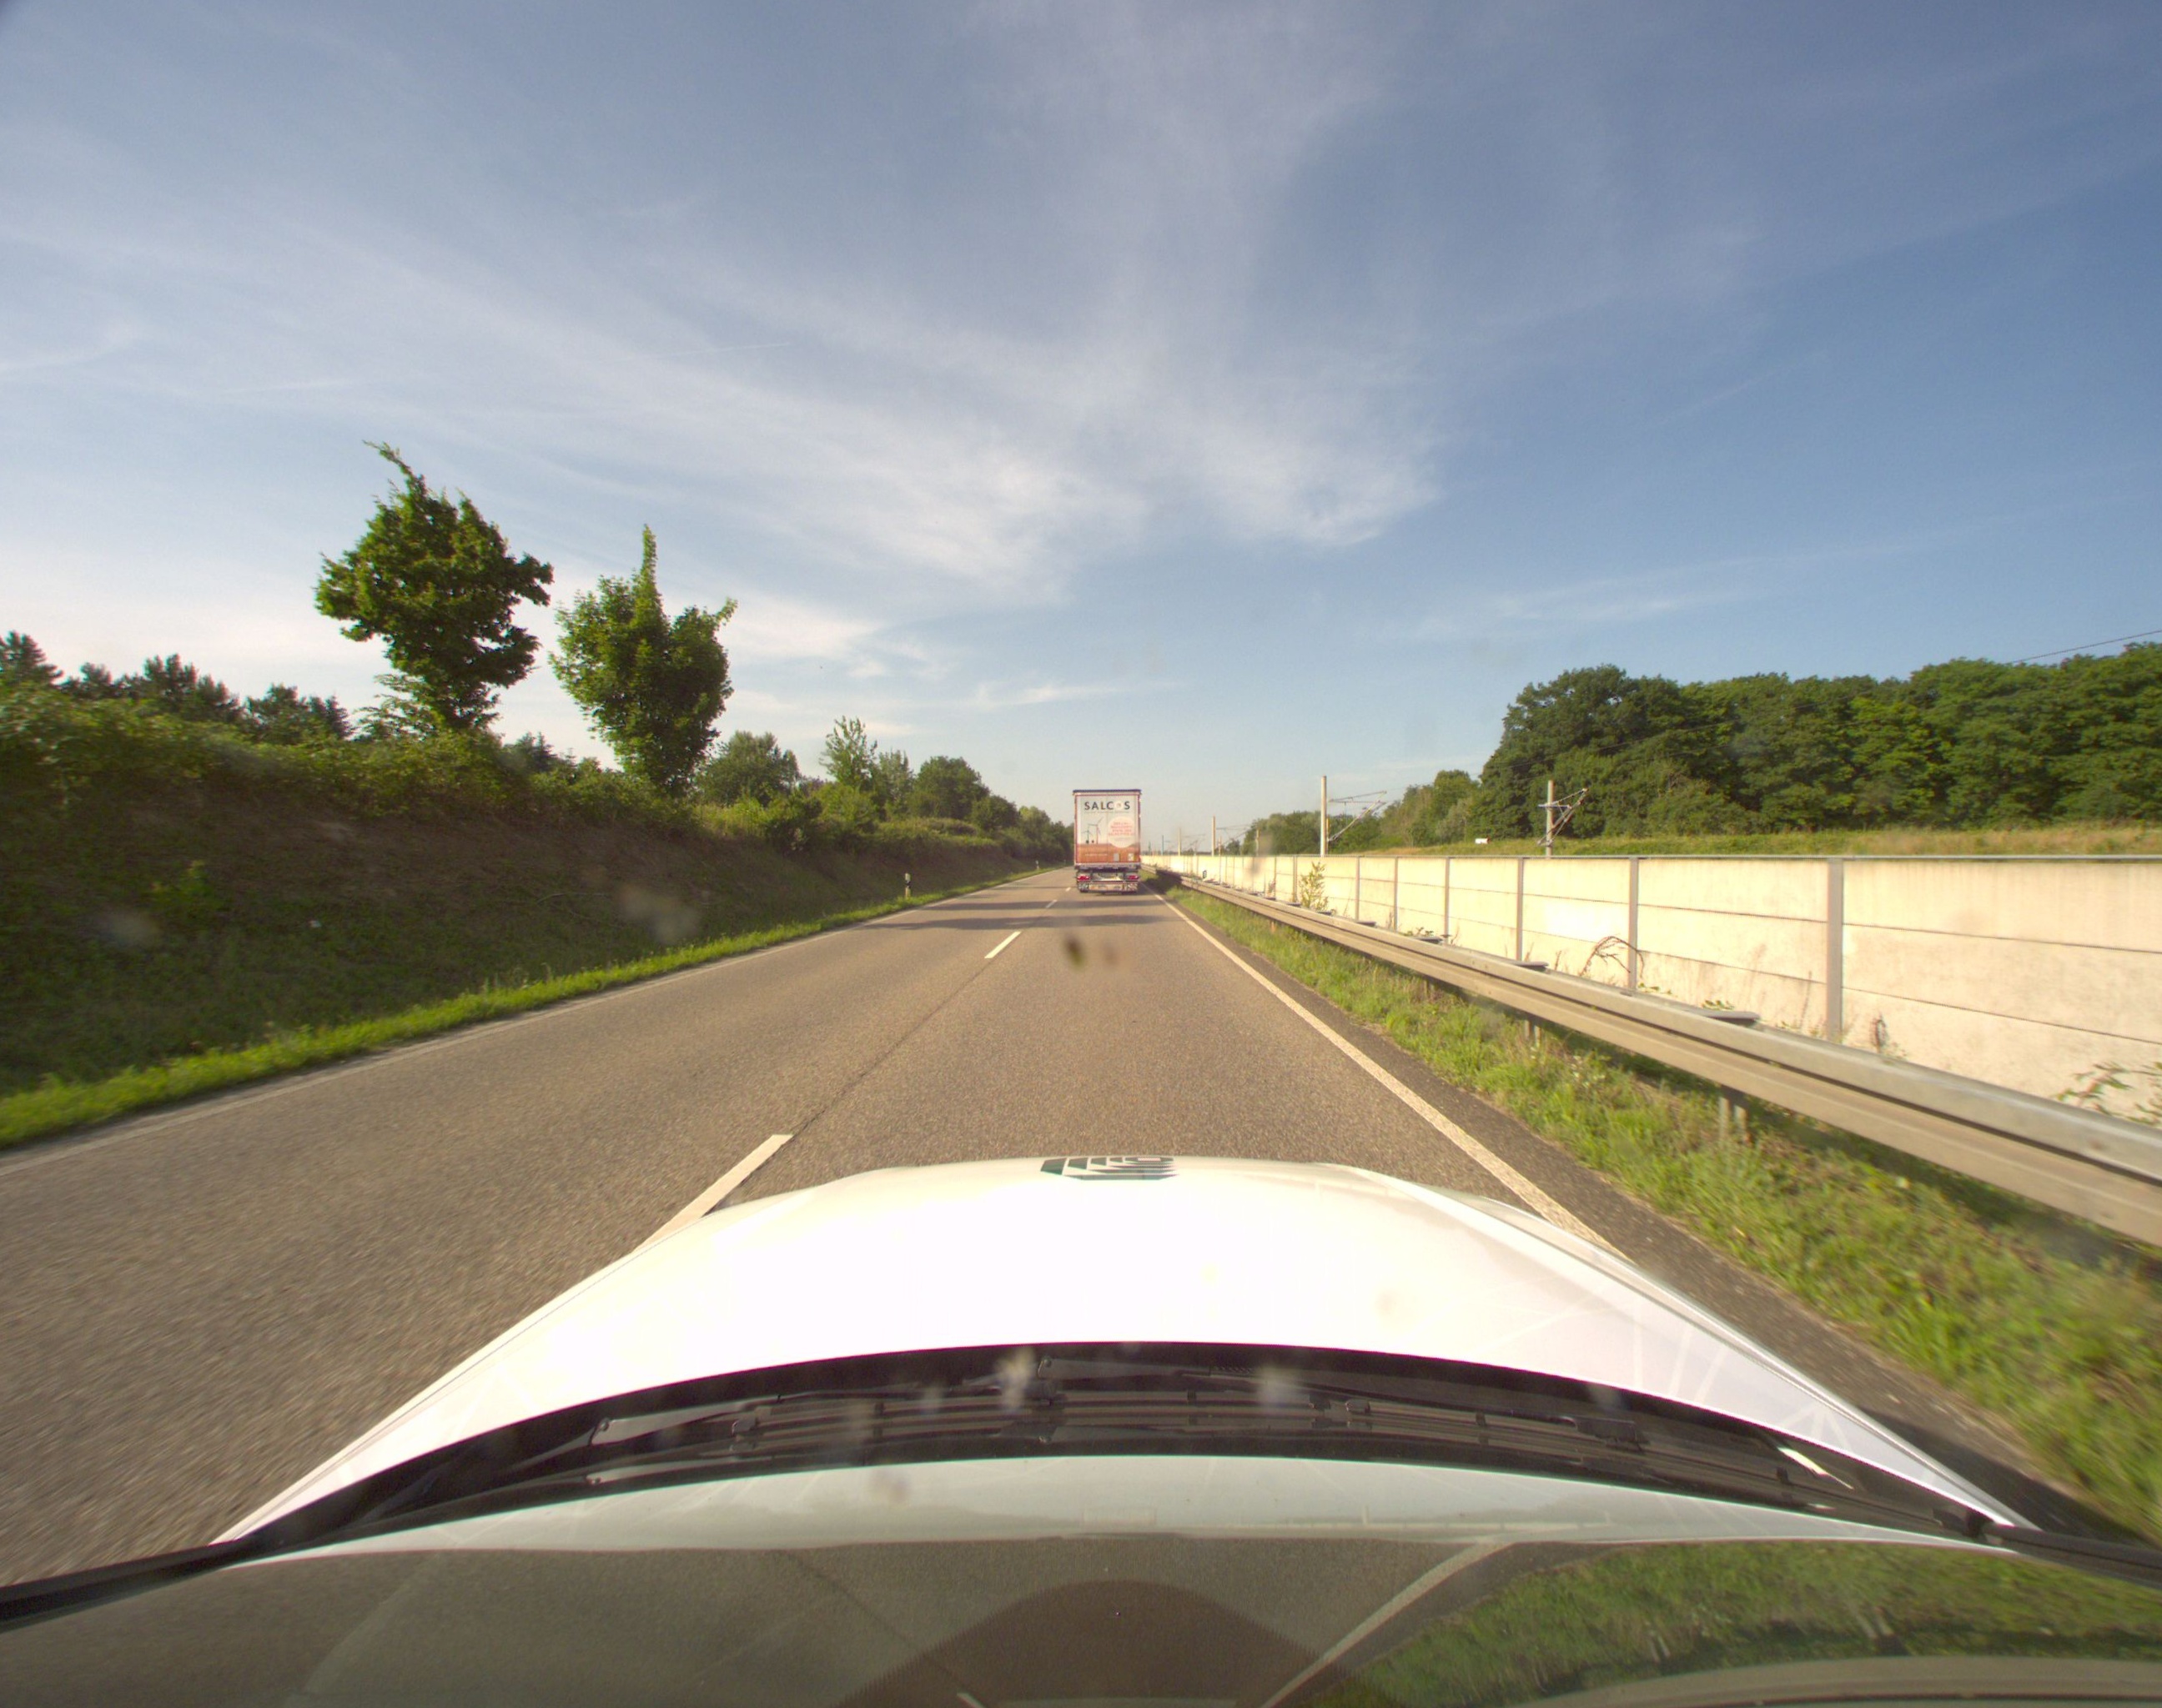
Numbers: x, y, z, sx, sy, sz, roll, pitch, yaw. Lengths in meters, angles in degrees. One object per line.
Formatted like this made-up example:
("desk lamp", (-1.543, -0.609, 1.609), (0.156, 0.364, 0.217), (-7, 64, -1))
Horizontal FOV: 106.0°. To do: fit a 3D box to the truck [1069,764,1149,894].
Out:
("truck", (1.127, -0.931, 36.840), (3.022, 4.920, 11.684), (0, 0, 1))
